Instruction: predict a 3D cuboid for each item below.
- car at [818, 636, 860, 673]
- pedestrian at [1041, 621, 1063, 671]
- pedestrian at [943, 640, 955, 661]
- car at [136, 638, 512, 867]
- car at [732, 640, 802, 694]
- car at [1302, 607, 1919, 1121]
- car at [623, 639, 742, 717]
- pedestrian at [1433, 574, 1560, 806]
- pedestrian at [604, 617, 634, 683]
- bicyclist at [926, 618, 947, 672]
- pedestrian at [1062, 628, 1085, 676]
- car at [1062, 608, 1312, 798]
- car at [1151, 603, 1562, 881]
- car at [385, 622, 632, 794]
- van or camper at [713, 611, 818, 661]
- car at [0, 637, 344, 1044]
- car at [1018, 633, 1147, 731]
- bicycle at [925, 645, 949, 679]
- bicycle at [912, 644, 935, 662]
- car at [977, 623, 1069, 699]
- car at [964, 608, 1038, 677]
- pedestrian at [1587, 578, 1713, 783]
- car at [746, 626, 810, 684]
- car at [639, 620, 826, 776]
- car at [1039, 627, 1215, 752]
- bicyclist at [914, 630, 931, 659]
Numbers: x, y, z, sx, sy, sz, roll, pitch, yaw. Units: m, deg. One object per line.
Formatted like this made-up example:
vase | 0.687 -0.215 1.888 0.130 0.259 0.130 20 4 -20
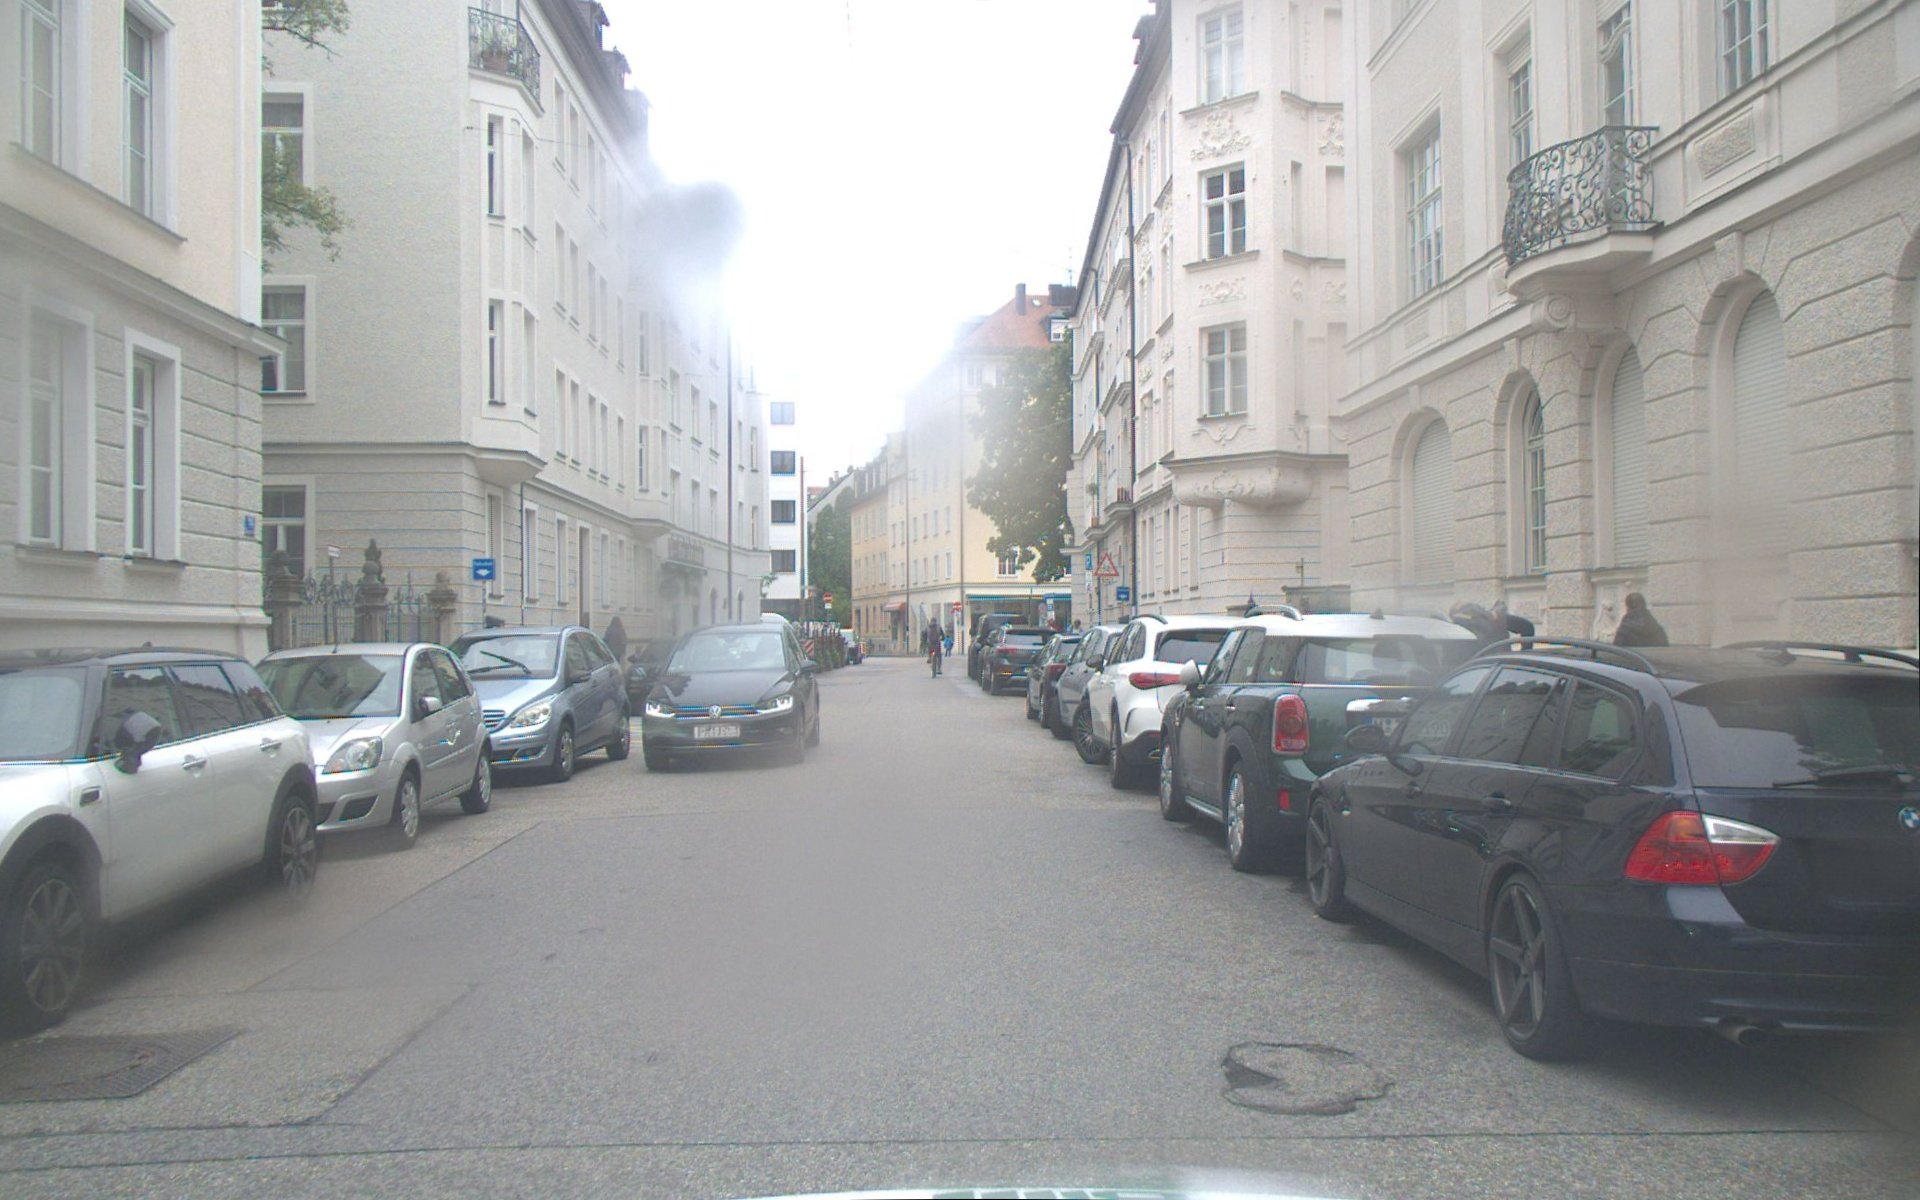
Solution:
car | -5.585 2.534 76.750 1.642 1.625 3.944 -2 -2 0
pedestrian | 3.298 1.656 59.475 0.689 1.758 0.702 -1 -1 -4
pedestrian | -0.646 3.046 99.752 0.684 1.293 0.651 -1 -1 2
car | -4.717 1.040 12.865 1.612 1.427 3.996 -2 -1 -4
car | -5.597 1.928 48.438 1.707 1.513 4.178 0 -1 -2
car | 2.788 0.796 6.926 1.677 1.477 4.222 1 -1 -2
car | -5.296 1.459 32.083 1.813 1.391 4.697 0 -1 -4
pedestrian | 4.359 0.713 13.487 0.668 1.807 0.854 -2 -1 -1
pedestrian | -9.032 1.320 43.802 0.684 1.737 0.665 1 -1 -4
bicyclist | -0.693 1.351 49.828 0.593 1.635 0.757 0 -1 1
pedestrian | 4.119 1.875 60.079 0.666 1.704 0.653 -2 -1 -4
car | 2.132 0.913 16.718 1.857 1.665 4.390 0 0 -1
car | 2.480 0.839 11.396 1.713 1.552 4.168 1 -1 -2
car | -4.825 1.080 18.221 1.662 1.608 4.060 -2 -1 -2
van or camper | -10.912 2.054 92.677 5.797 2.724 1.868 0 -3 -10
car | -4.386 0.898 7.514 1.761 1.460 4.077 0 -2 -2
car | 1.911 1.271 26.792 1.580 1.419 3.997 2 -1 -3
bicycle | -0.687 1.858 49.801 0.626 1.022 1.574 0 -1 2
bicycle | -2.161 3.090 96.788 0.833 1.019 2.160 1 -1 -16
car | 1.396 1.368 38.105 1.673 1.615 3.997 2 -1 -4
car | 1.184 1.273 49.884 1.872 1.918 4.711 2 -1 -2
pedestrian | 5.996 0.684 14.406 0.668 1.708 0.811 -2 -1 -3
car | -5.769 1.728 52.823 1.711 1.702 4.272 -3 -1 -3
car | -2.538 1.069 19.314 1.689 1.560 4.084 -2 -1 -2
car | 2.172 1.158 22.506 1.674 1.527 3.996 1 -1 -5
bicyclist | -2.187 2.587 96.891 0.768 1.666 0.972 1 -1 -16
